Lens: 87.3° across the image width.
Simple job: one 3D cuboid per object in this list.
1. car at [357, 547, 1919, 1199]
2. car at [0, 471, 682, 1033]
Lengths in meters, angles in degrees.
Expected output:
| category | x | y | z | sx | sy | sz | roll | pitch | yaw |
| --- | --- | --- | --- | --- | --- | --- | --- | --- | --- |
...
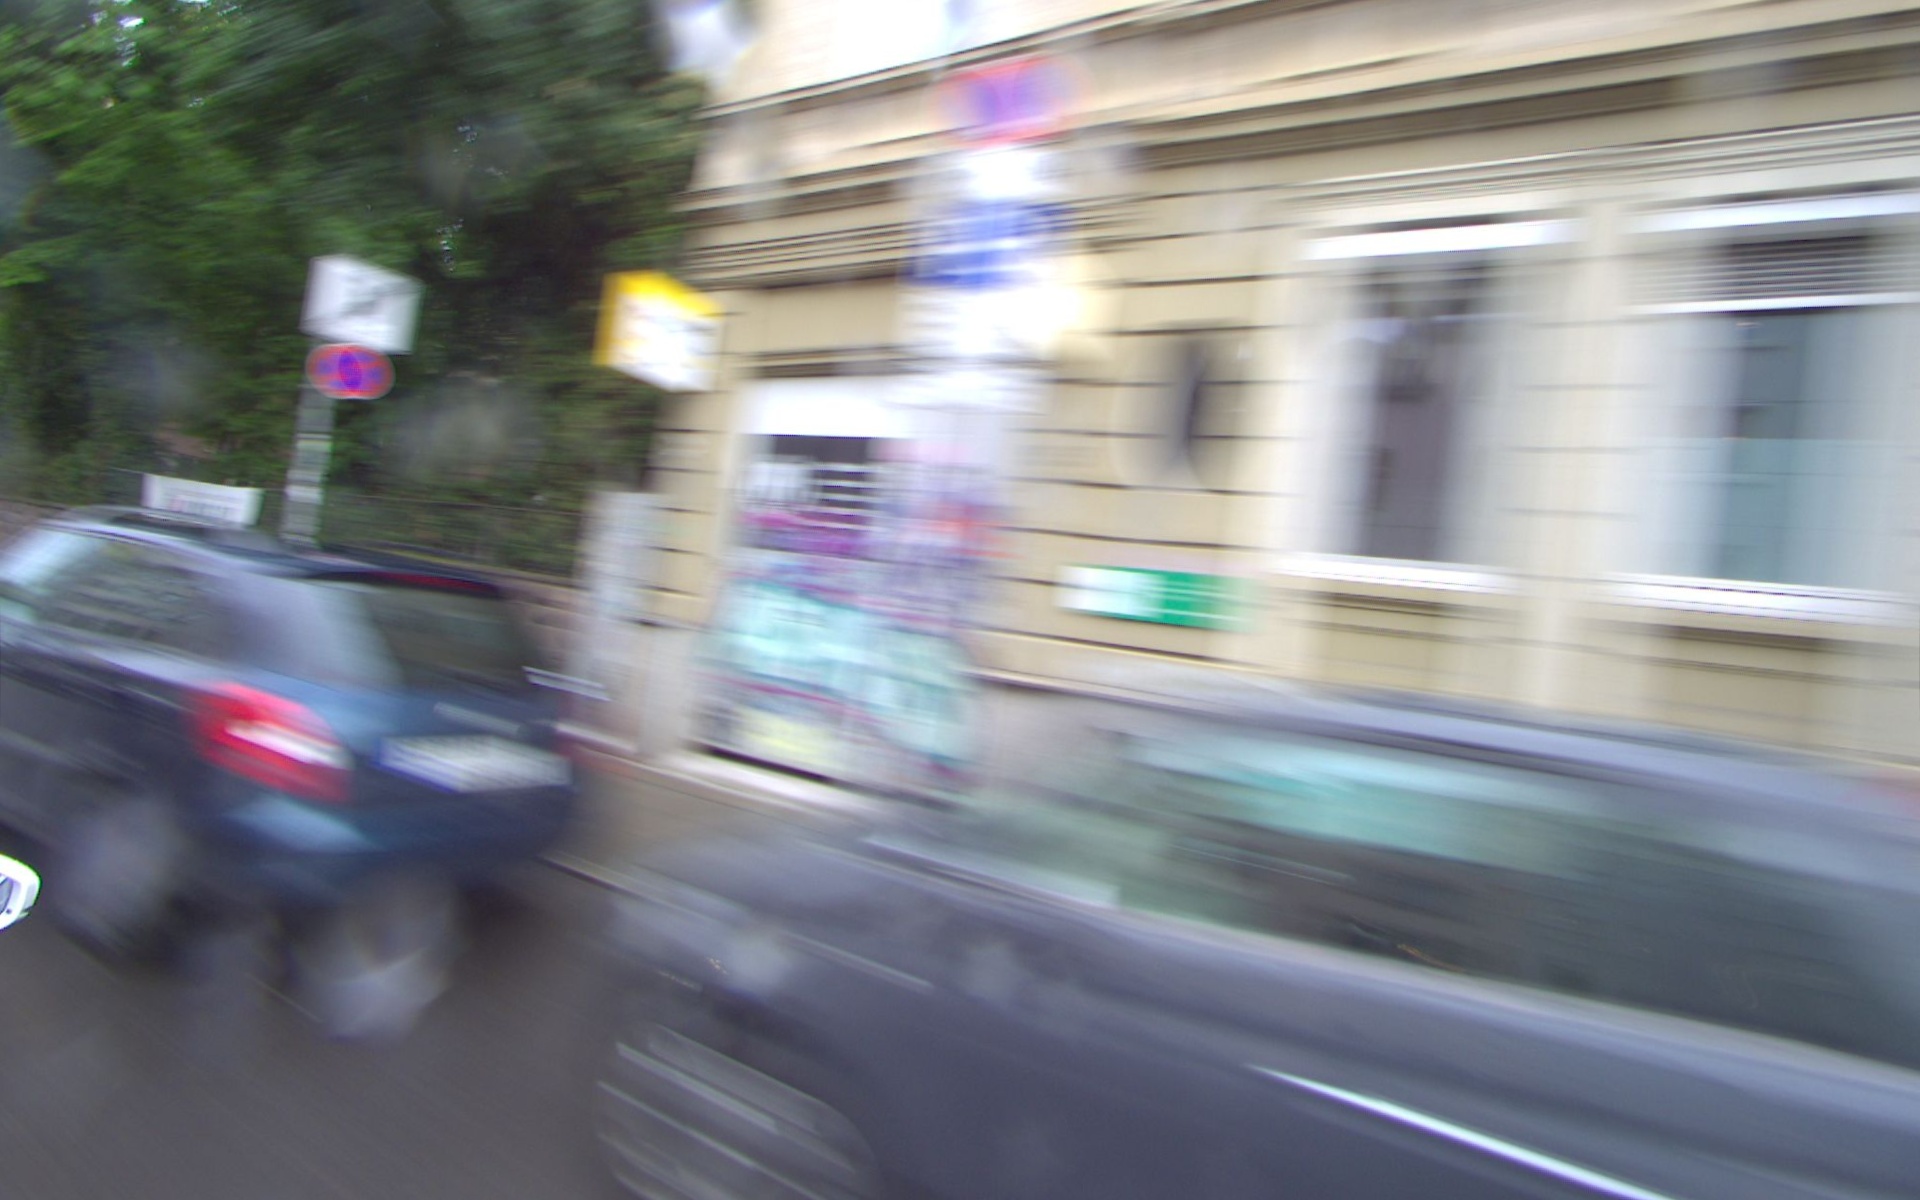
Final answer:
| category | x | y | z | sx | sy | sz | roll | pitch | yaw |
| --- | --- | --- | --- | --- | --- | --- | --- | --- | --- |
| car | 0.477 | 0.898 | 2.663 | 3.933 | 1.505 | 1.744 | 7 | -3 | 31 |
| car | -3.391 | 0.364 | 4.578 | 3.971 | 1.532 | 1.647 | 7 | -3 | 31 |
